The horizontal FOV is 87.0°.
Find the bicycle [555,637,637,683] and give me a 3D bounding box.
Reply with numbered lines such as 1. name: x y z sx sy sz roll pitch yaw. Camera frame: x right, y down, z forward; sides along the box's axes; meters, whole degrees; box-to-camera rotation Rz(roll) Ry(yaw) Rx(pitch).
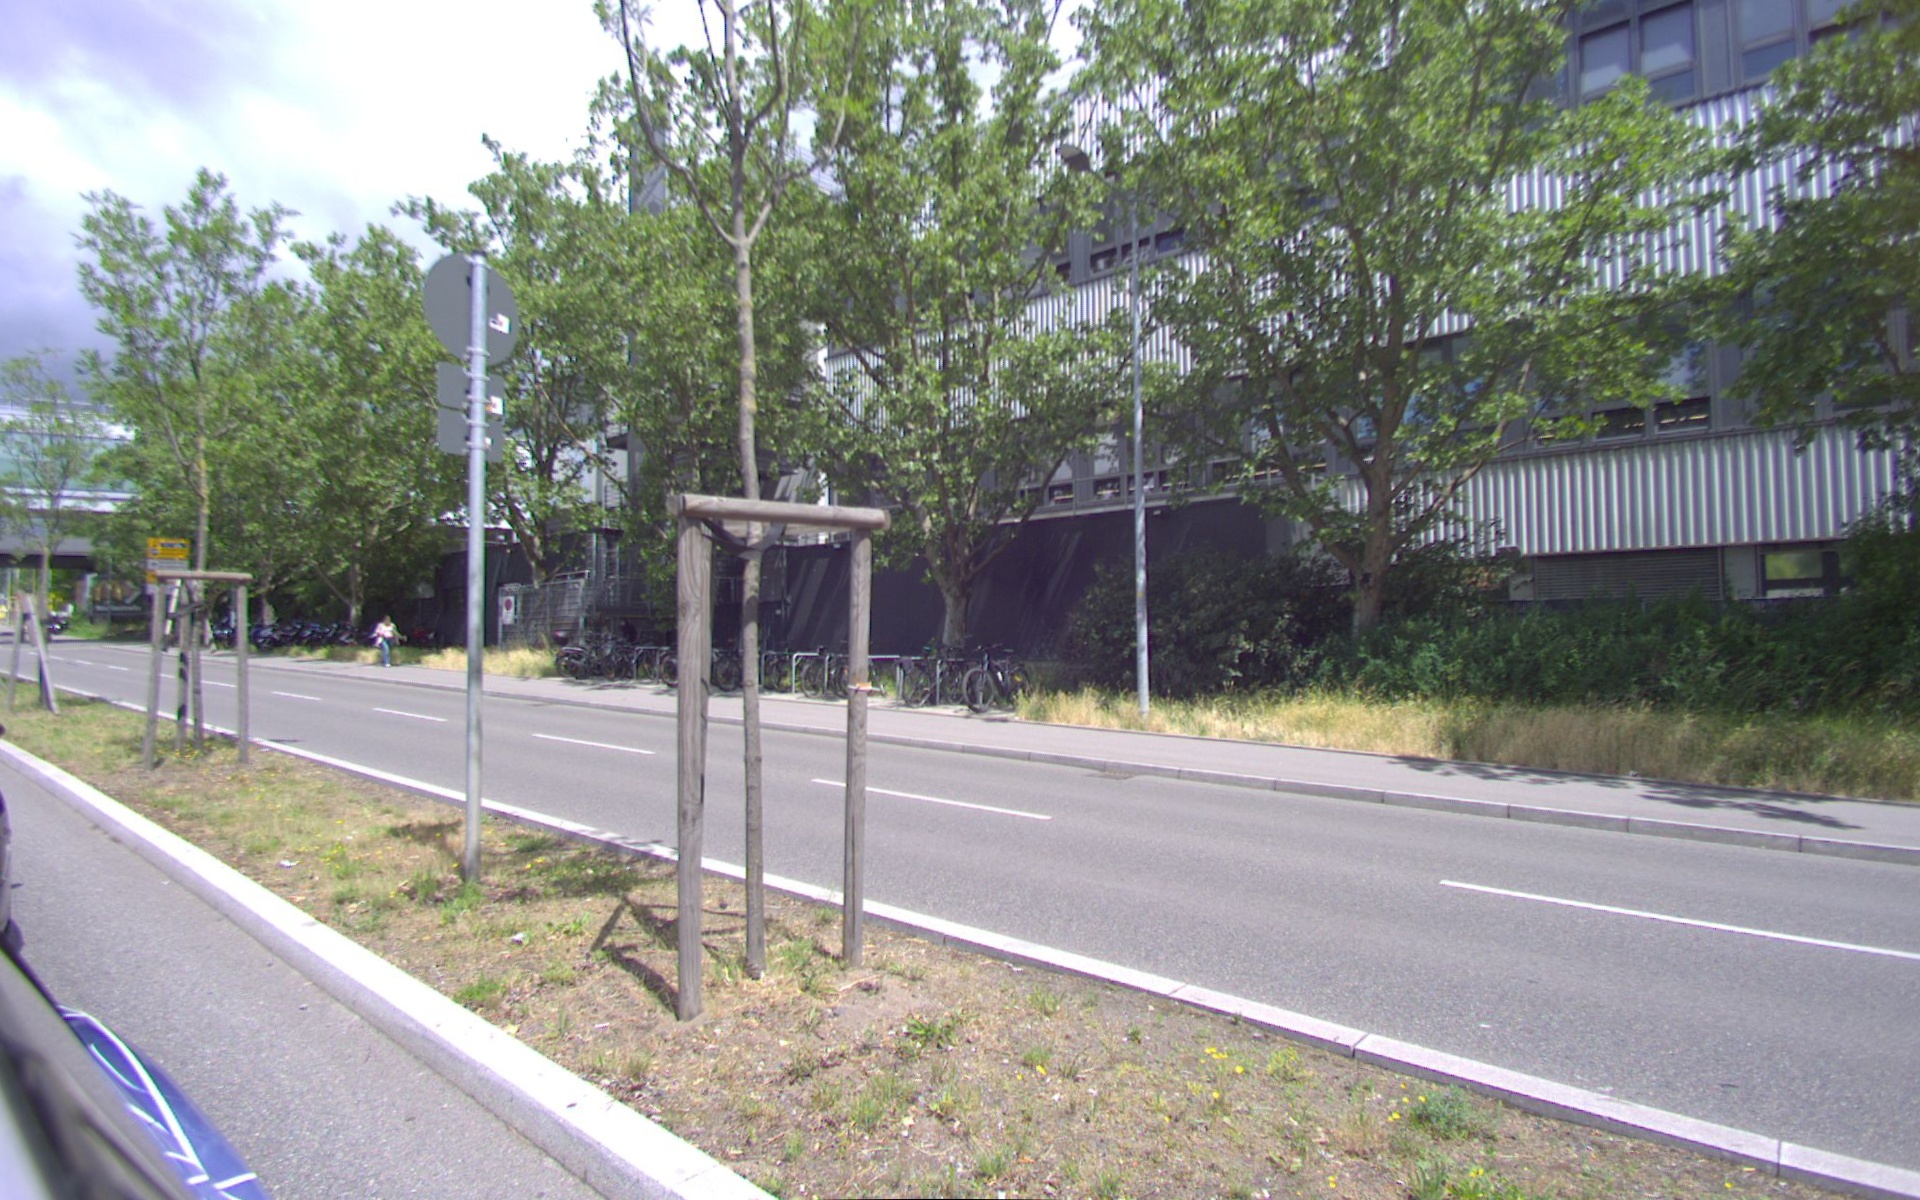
1. bicycle: -9.550 1.553 26.635 0.382 1.119 2.101 -2 -1 43

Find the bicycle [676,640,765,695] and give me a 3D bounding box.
1. bicycle: -5.338 1.490 22.671 0.382 1.119 2.101 -2 -1 43

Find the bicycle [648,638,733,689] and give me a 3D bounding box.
1. bicycle: -6.485 1.512 24.417 0.382 1.119 2.101 -2 -1 43

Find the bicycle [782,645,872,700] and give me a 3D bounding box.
1. bicycle: -2.748 1.481 21.140 0.382 1.038 2.101 -2 -1 43

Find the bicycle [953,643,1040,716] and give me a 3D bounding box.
1. bicycle: 0.656 1.341 17.401 0.381 1.137 1.968 -2 -1 39

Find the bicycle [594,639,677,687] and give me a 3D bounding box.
1. bicycle: -8.165 1.568 25.541 0.382 1.119 2.101 -2 -1 43

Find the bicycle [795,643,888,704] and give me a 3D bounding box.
1. bicycle: -2.344 1.436 20.232 0.382 1.104 2.101 -2 -1 43

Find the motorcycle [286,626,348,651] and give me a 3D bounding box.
1. motorcycle: -26.568 1.591 41.813 0.534 0.976 2.105 -2 -1 41

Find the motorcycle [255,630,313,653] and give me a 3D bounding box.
1. motorcycle: -30.073 1.831 45.062 0.534 0.976 2.105 -2 -1 41

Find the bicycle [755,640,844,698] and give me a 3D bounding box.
1. bicycle: -3.416 1.458 21.754 0.382 1.119 2.101 -2 -1 43

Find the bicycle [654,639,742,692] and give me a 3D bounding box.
1. bicycle: -5.994 1.485 23.267 0.382 1.119 2.101 -2 -1 43

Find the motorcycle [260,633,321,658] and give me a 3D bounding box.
1. motorcycle: -28.277 1.905 42.763 0.534 0.976 2.105 -2 -1 41

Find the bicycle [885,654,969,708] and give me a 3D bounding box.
1. bicycle: -0.601 1.522 19.224 0.381 0.897 1.968 -2 -1 39

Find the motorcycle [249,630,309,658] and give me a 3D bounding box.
1. motorcycle: -29.470 1.903 43.799 0.534 1.146 2.105 -2 -1 41

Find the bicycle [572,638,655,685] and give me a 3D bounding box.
1. bicycle: -8.909 1.572 26.089 0.382 1.119 2.101 -2 -1 43

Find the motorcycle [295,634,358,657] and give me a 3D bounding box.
1. motorcycle: -25.712 1.833 41.089 0.534 0.892 2.105 -2 -1 41

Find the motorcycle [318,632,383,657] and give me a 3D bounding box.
1. motorcycle: -23.924 1.741 39.756 0.534 0.905 2.105 -2 -1 41

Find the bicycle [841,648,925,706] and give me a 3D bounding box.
1. bicycle: -1.474 1.478 19.710 0.381 1.005 1.968 -2 -1 39

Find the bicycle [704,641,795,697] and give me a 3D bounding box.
1. bicycle: -4.547 1.481 22.020 0.382 1.119 2.101 -2 -1 43

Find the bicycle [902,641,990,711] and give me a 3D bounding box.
1. bicycle: -0.224 1.337 18.123 0.381 1.137 1.968 -2 -1 39

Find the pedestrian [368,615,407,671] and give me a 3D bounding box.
1. pedestrian: -18.100 1.349 32.013 0.672 1.734 0.888 -2 -2 41
